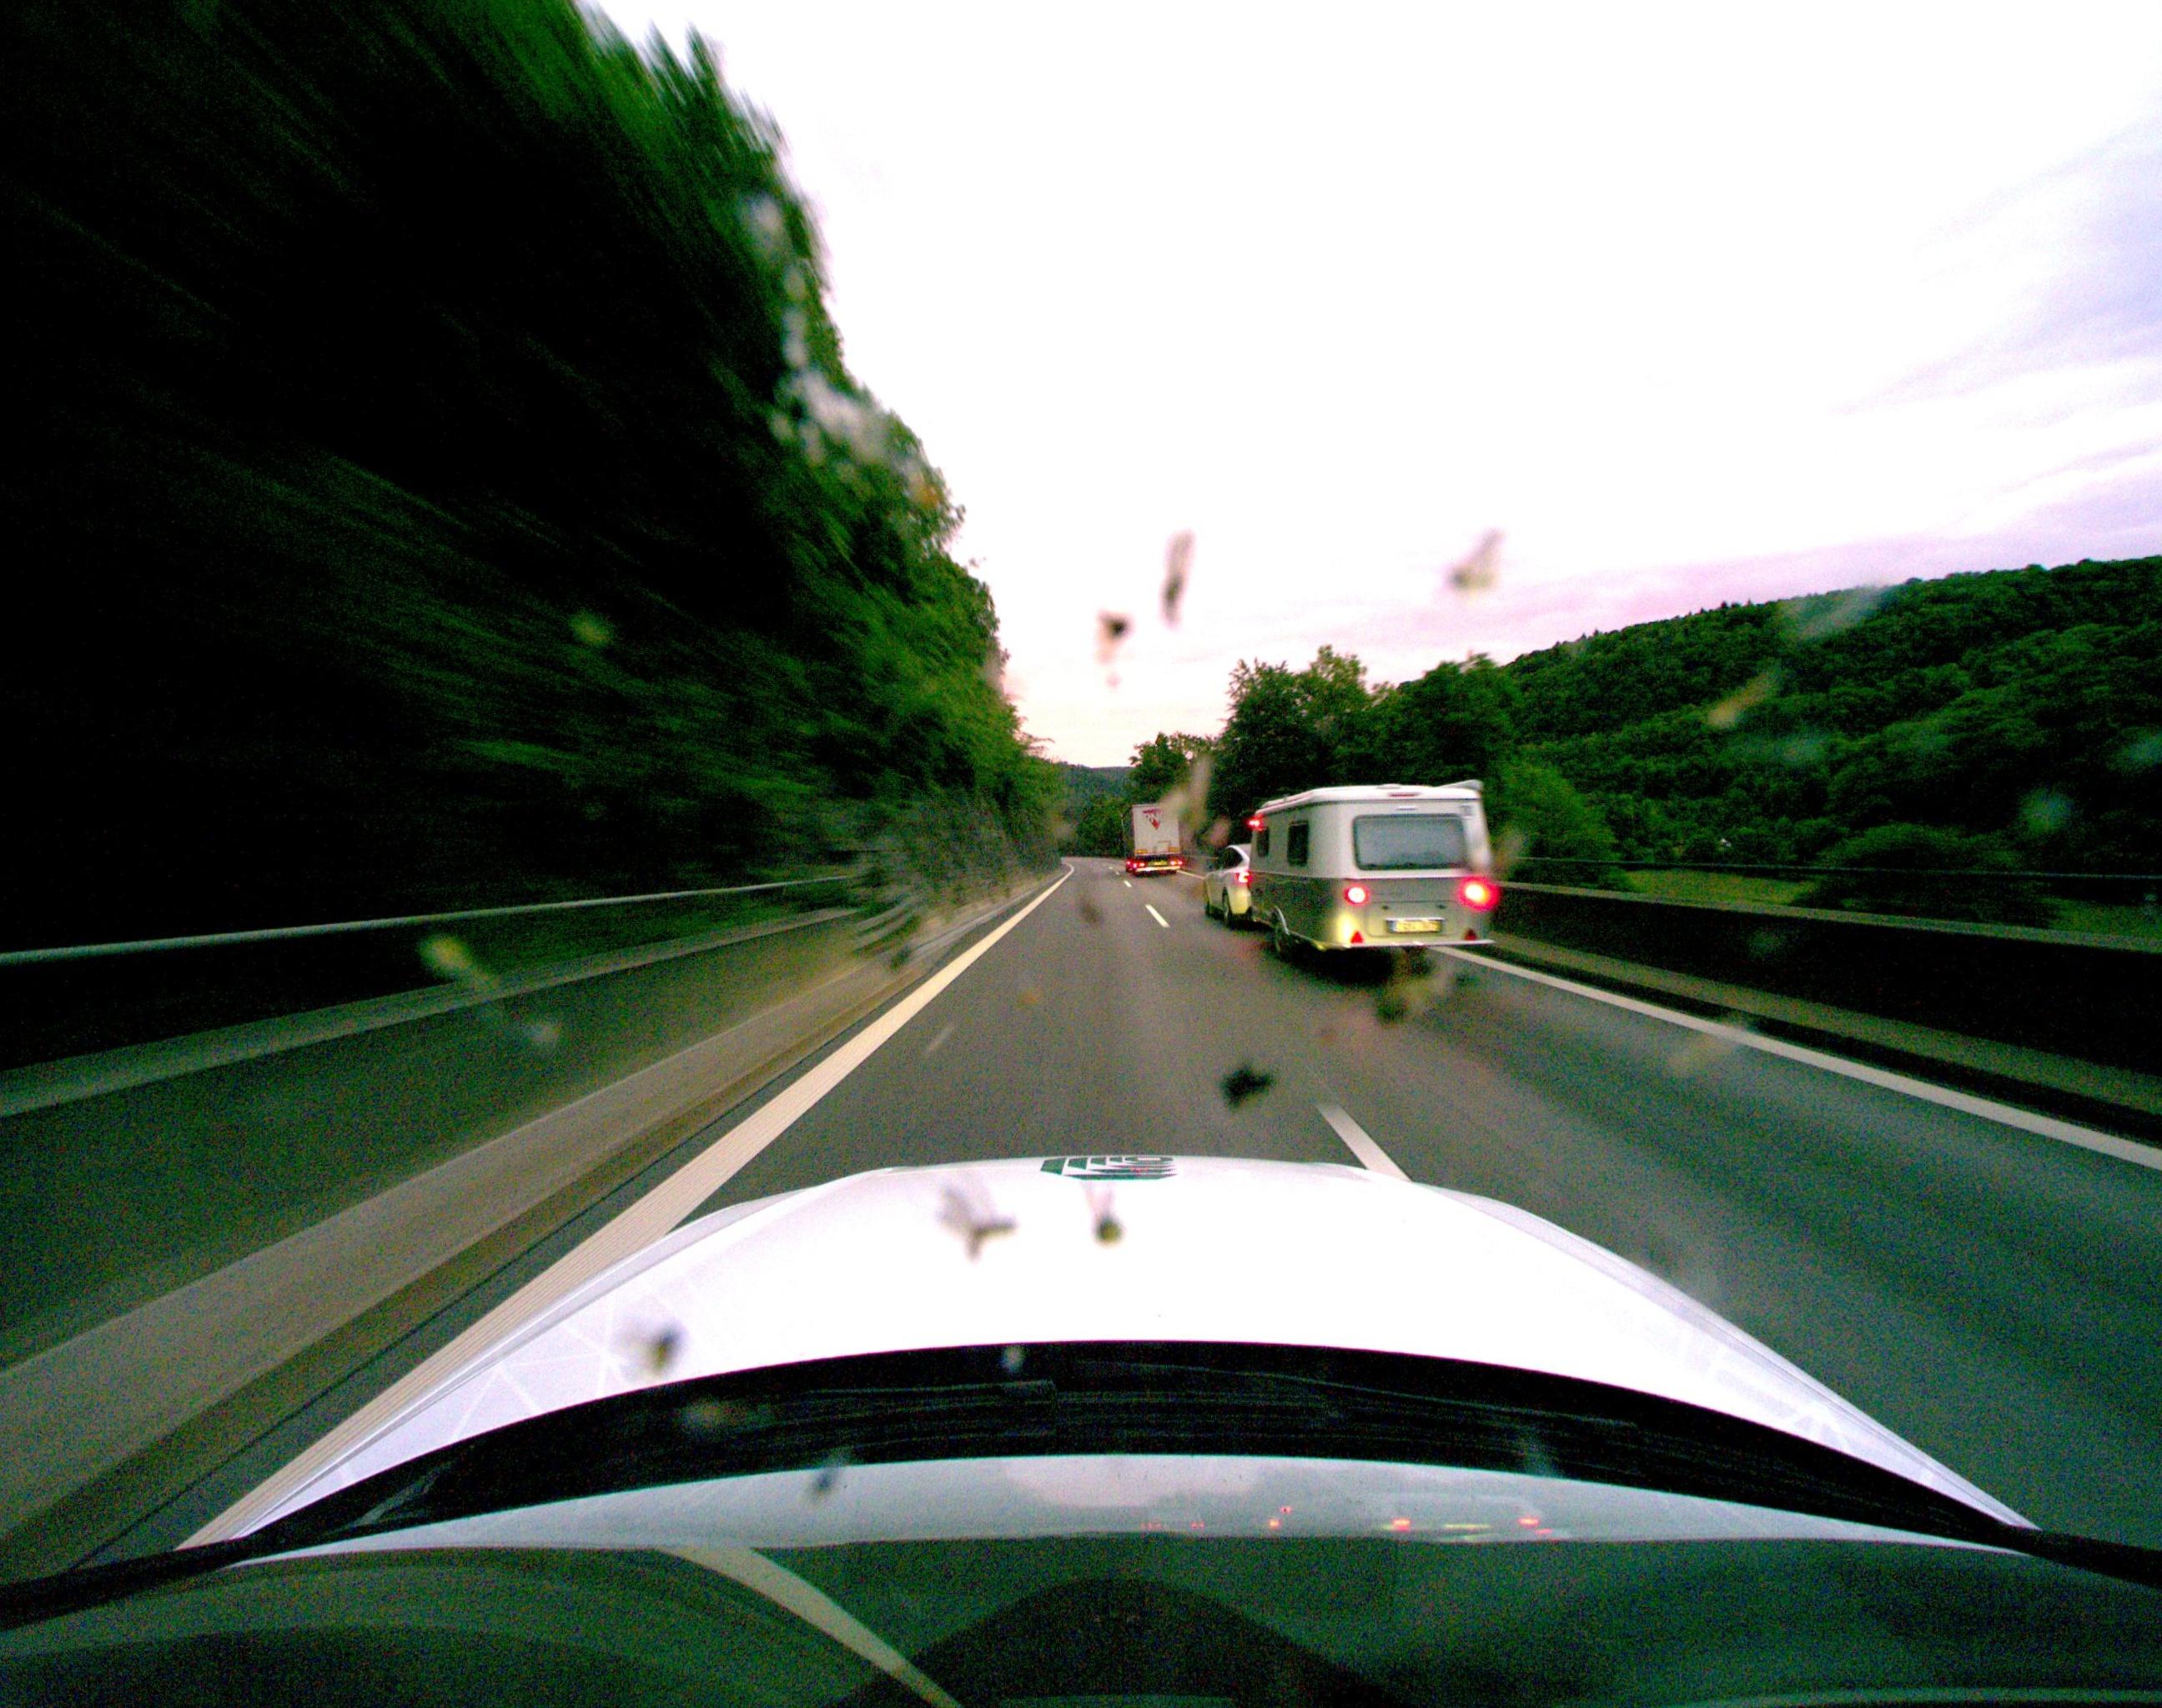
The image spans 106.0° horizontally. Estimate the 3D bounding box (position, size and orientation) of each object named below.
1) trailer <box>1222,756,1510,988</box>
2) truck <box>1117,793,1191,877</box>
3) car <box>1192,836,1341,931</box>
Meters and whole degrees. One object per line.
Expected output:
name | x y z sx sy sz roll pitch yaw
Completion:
trailer | 3.555 0.182 11.651 2.047 2.375 5.939 -3 0 1
truck | 4.186 -0.995 50.956 3.283 4.172 16.506 -4 0 1
car | 3.660 0.533 17.015 1.987 1.614 4.865 -2 0 0
